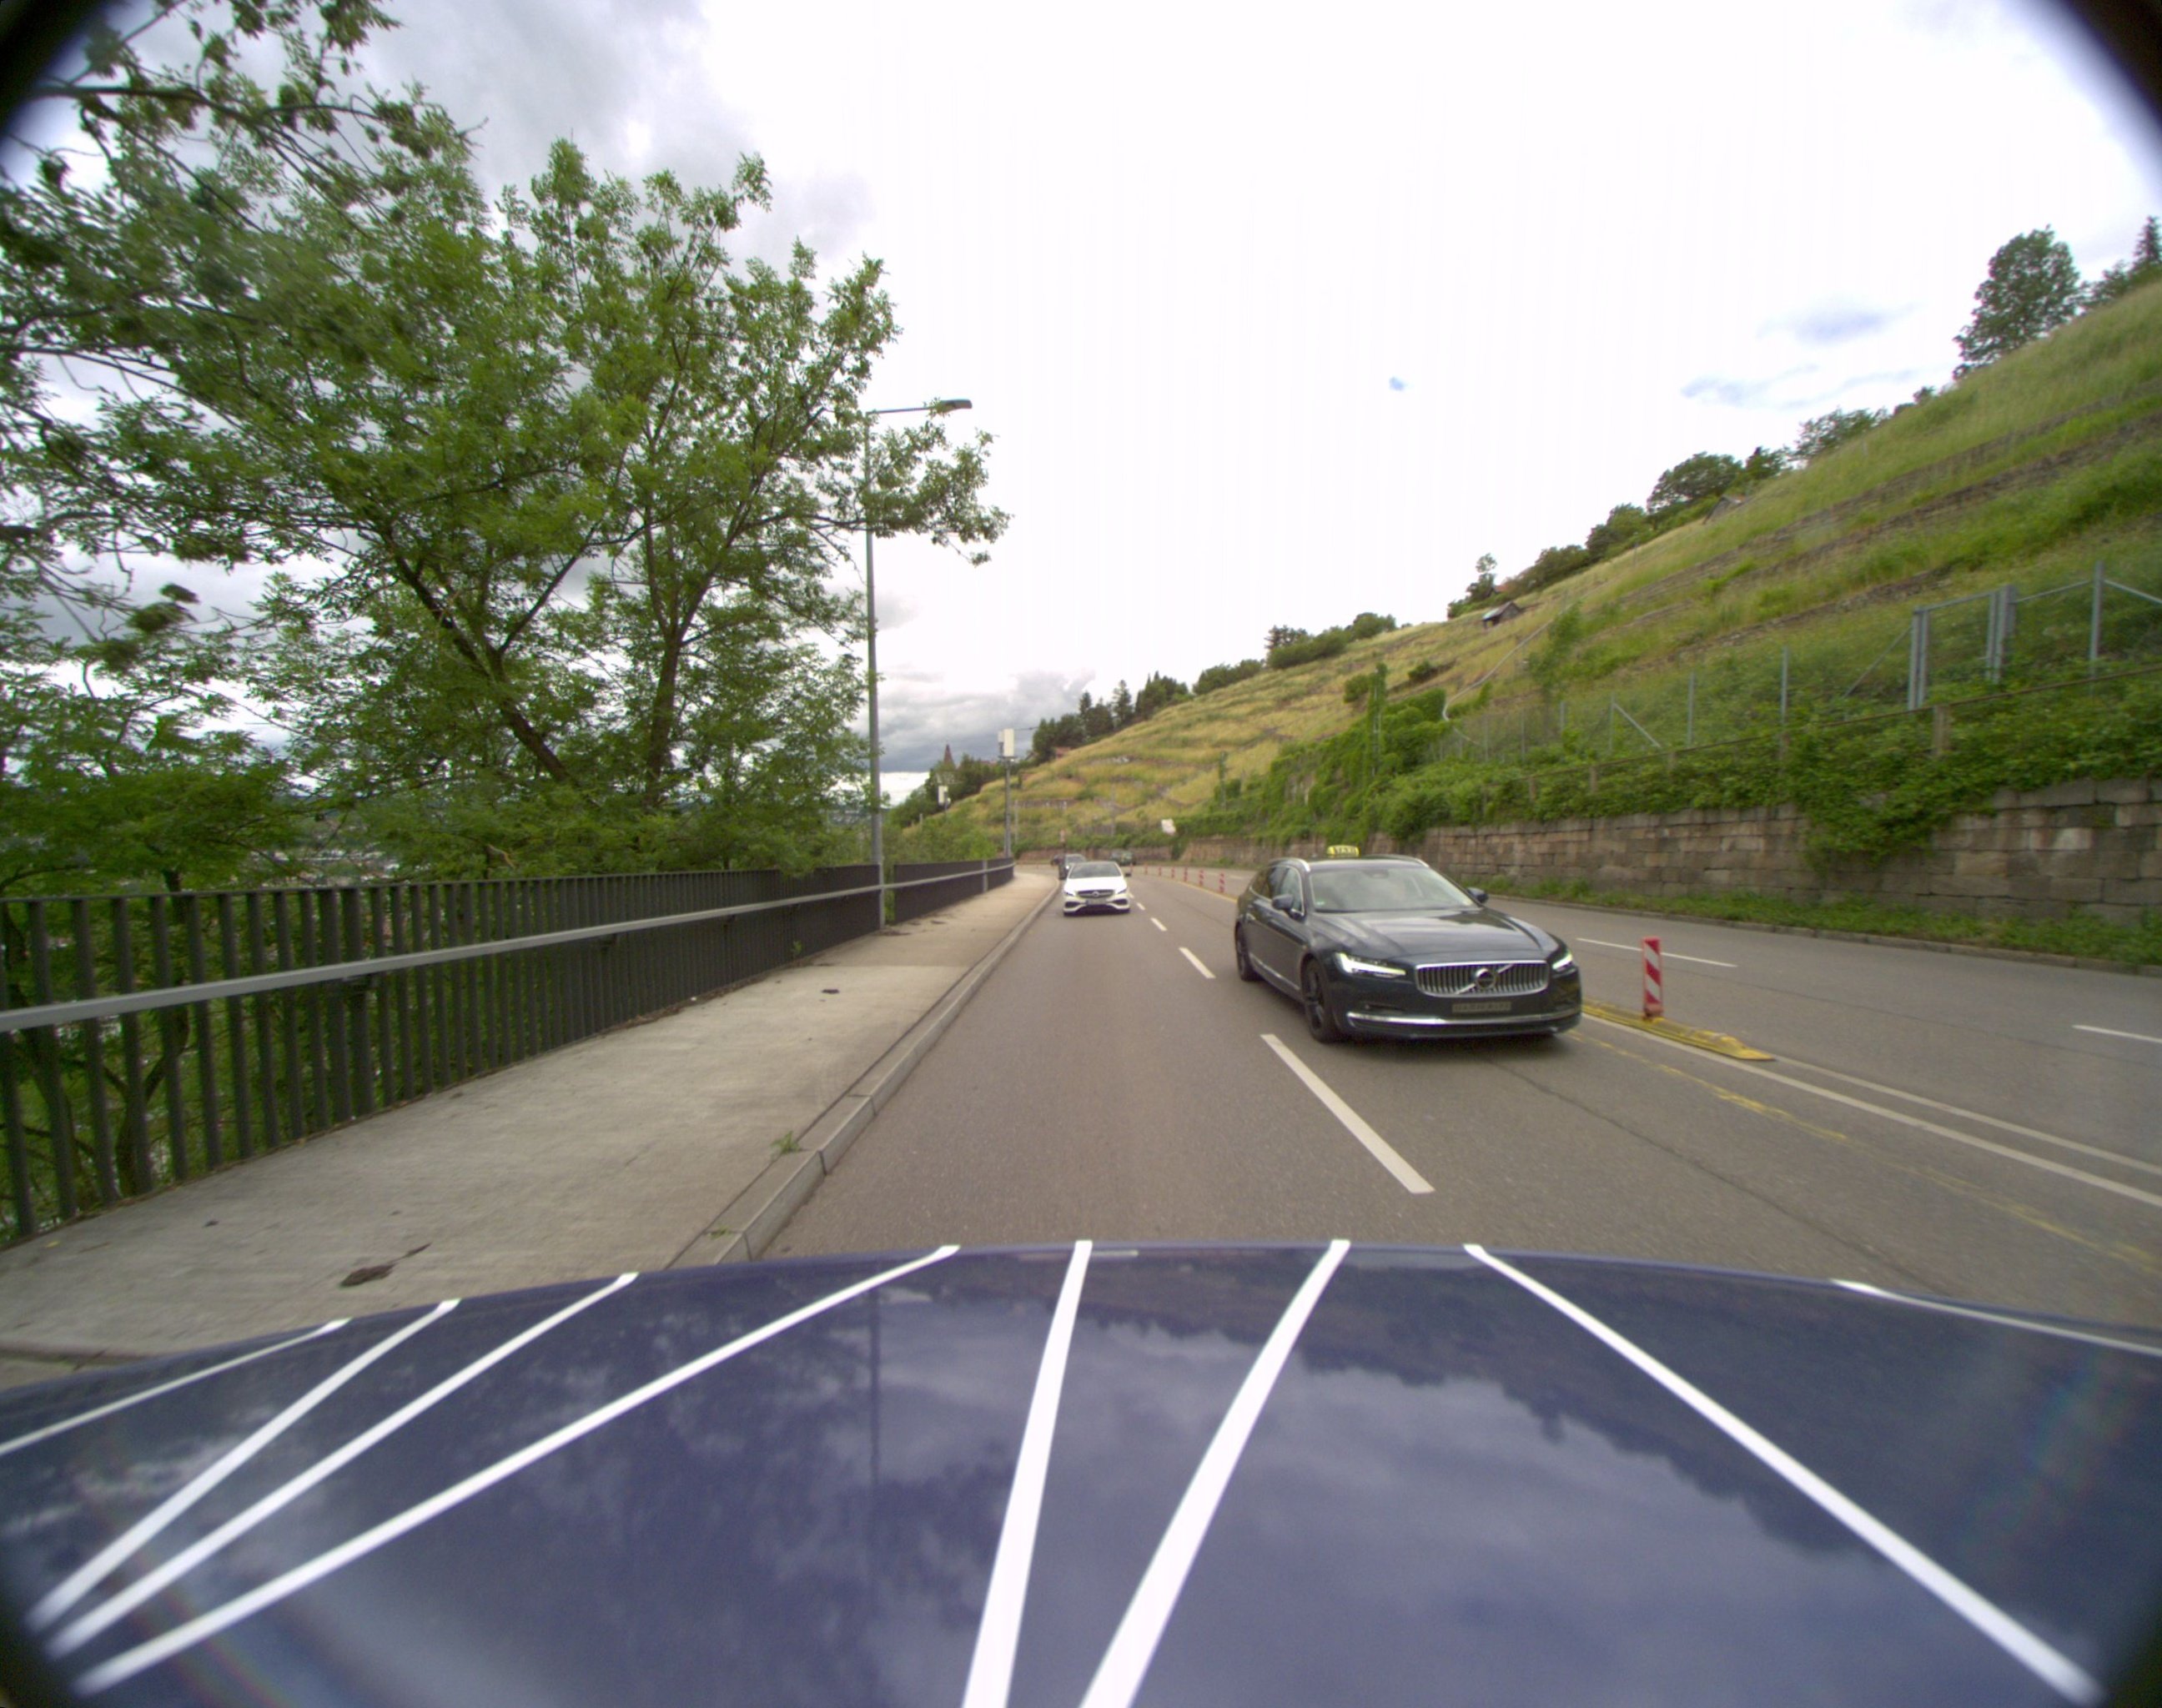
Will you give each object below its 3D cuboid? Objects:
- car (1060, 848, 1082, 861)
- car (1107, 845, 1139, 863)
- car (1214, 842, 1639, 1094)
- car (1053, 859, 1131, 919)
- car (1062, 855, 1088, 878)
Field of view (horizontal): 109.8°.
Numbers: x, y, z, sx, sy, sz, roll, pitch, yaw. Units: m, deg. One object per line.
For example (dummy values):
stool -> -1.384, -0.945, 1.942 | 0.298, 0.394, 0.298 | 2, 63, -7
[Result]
car -> -1.217, 0.064, 89.791 | 1.601, 1.420, 3.995 | -4, 1, -13
car -> 4.157, 0.028, 75.967 | 1.915, 1.682, 3.994 | -4, 1, -17
car -> 2.723, 0.740, 7.526 | 1.939, 1.567, 5.027 | -3, 0, 1
car -> 0.293, 0.938, 21.572 | 1.903, 1.418, 4.266 | -4, -1, 0
car -> -0.405, 0.812, 52.698 | 1.645, 1.381, 3.999 | -3, 1, 0
